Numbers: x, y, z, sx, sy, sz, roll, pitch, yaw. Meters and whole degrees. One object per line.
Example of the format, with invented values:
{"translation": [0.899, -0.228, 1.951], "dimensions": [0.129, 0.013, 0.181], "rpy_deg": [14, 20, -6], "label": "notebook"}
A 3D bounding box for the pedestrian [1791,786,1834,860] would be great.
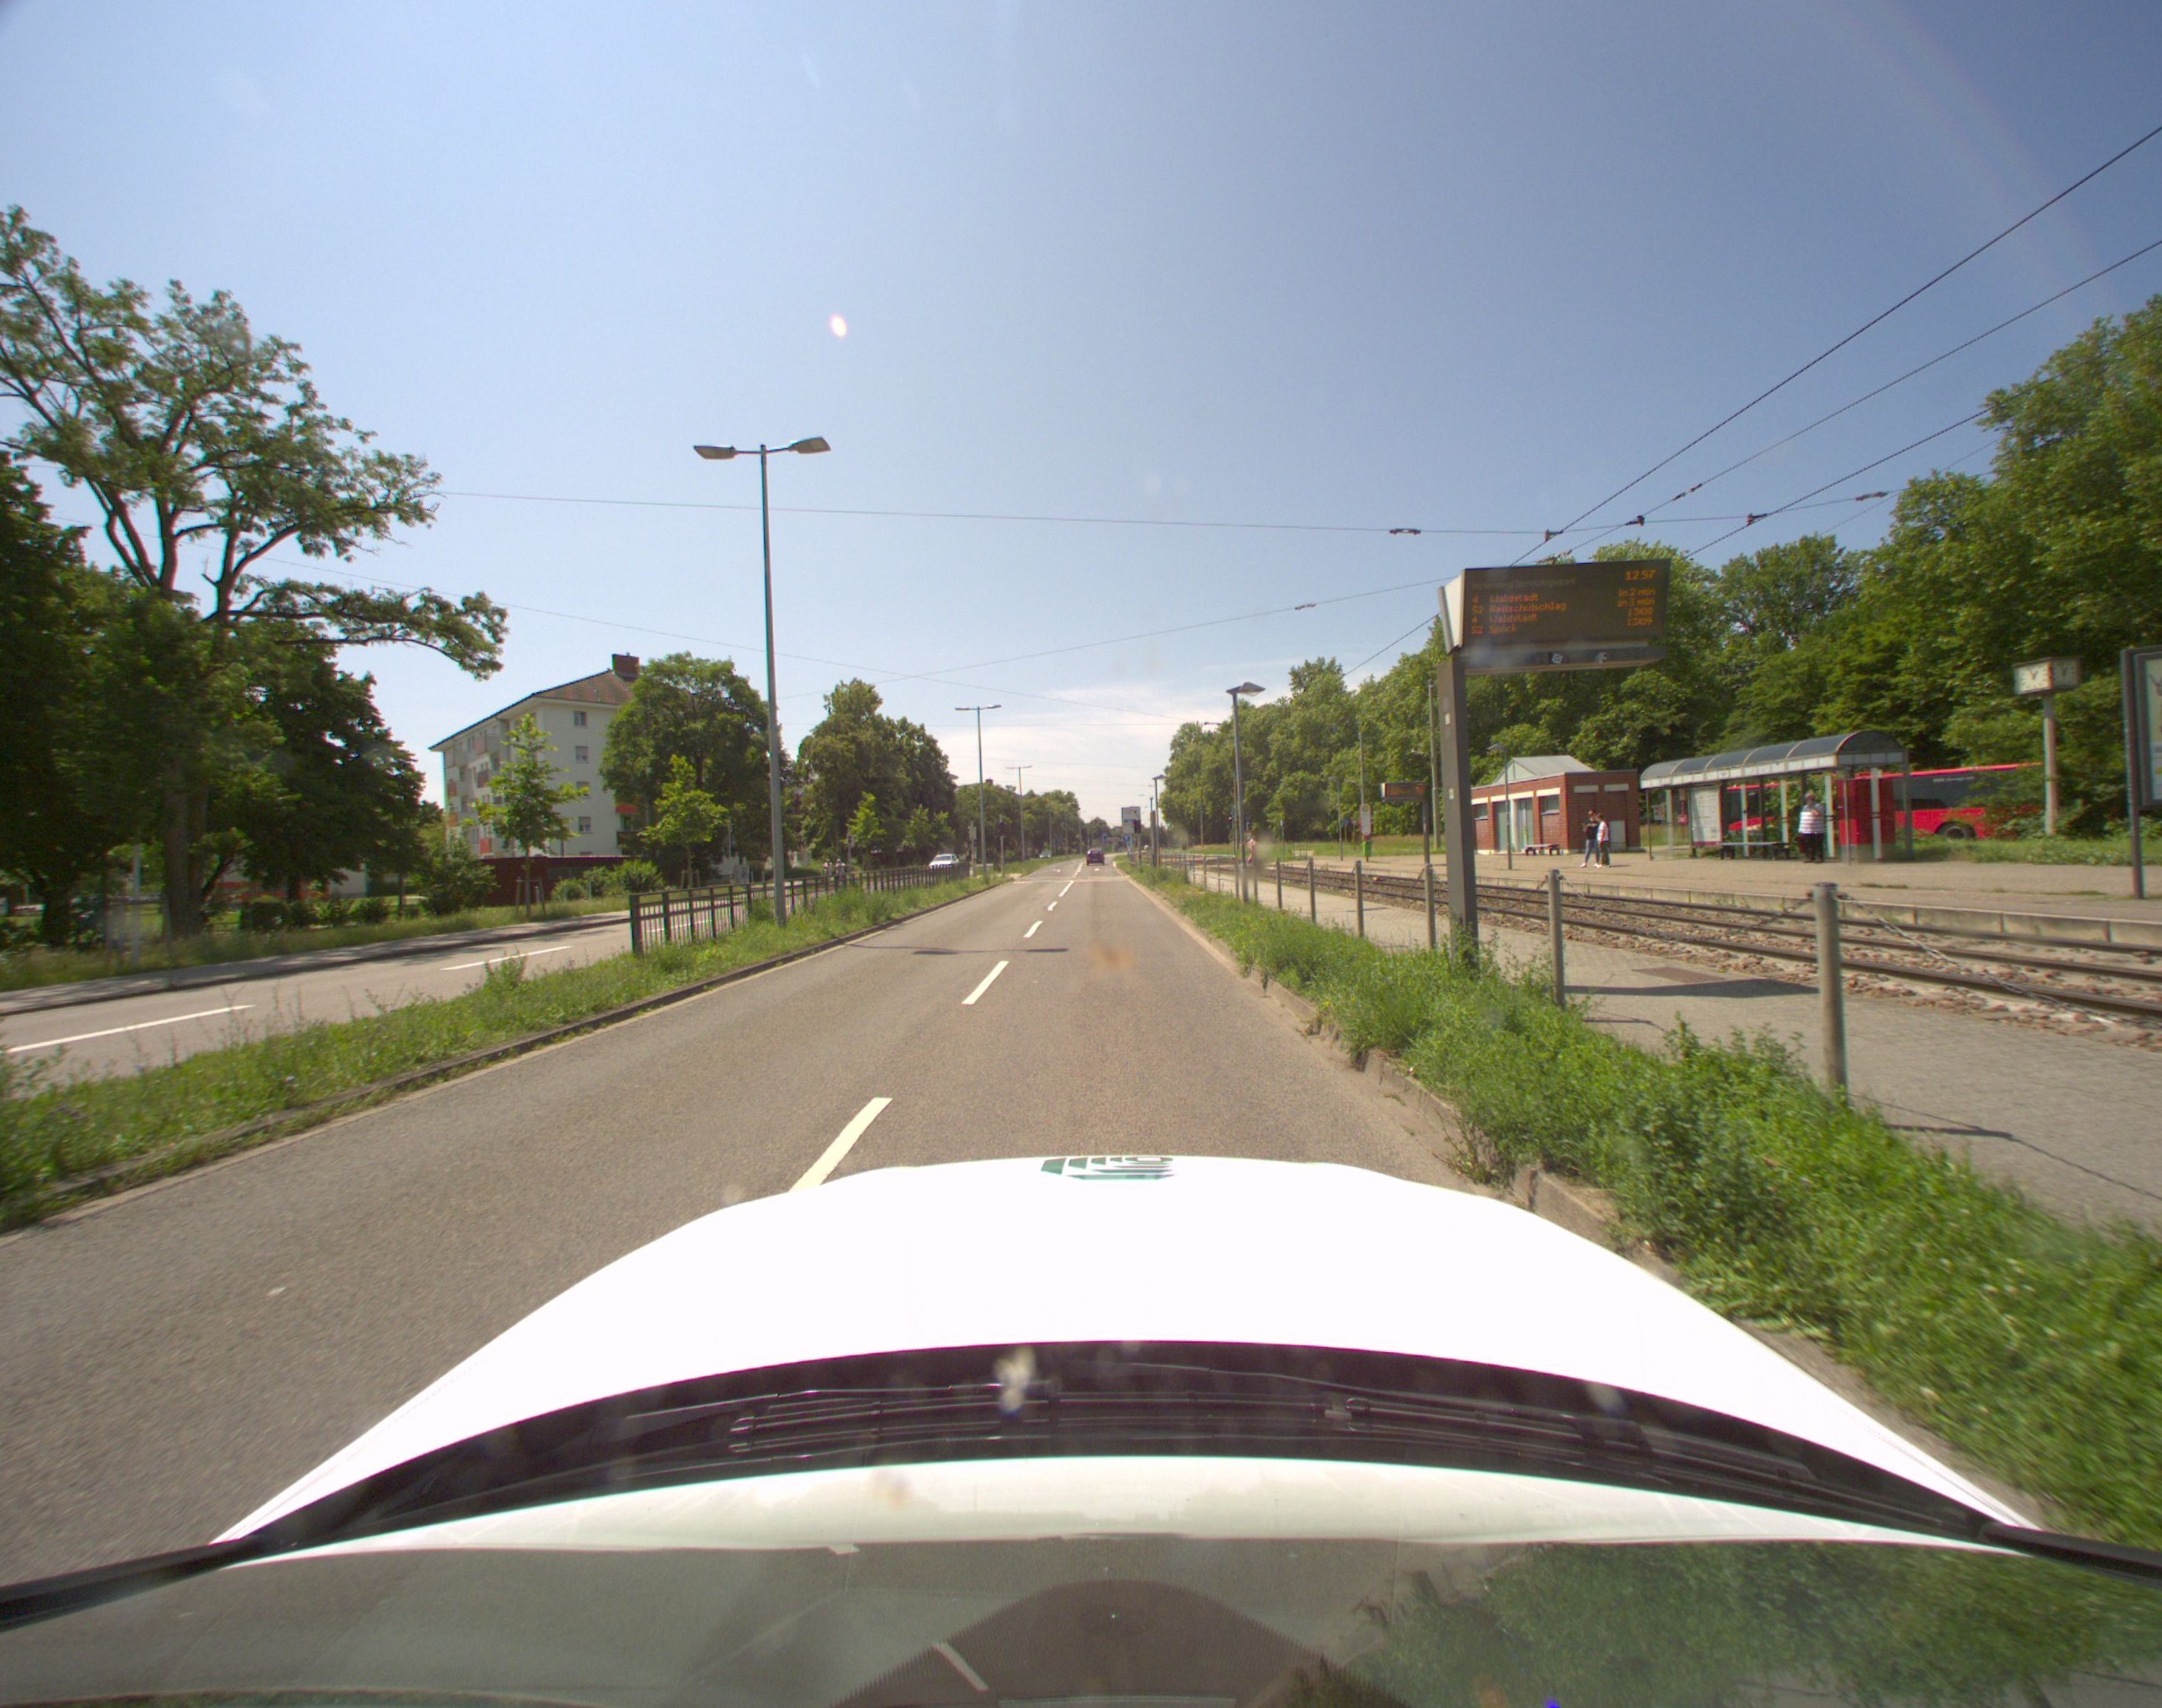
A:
{"translation": [17.988, -0.742, 20.033], "dimensions": [0.380, 1.774, 0.741], "rpy_deg": [-1, -1, 4], "label": "pedestrian"}

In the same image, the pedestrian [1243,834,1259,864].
{"translation": [10.071, -0.294, 48.230], "dimensions": [0.635, 1.759, 0.813], "rpy_deg": [-1, -1, -12], "label": "pedestrian"}

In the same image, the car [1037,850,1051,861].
{"translation": [-5.935, 0.234, 131.189], "dimensions": [1.749, 1.543, 4.163], "rpy_deg": [-3, 0, 2], "label": "car"}

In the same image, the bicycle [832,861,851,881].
{"translation": [-14.218, 1.016, 48.369], "dimensions": [0.586, 1.133, 1.616], "rpy_deg": [-3, 0, 2], "label": "bicycle"}

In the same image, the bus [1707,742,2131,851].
{"translation": [33.594, -2.007, 34.017], "dimensions": [2.767, 3.439, 12.368], "rpy_deg": [-1, -1, -18], "label": "bus"}

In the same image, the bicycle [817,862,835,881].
{"translation": [-15.094, 1.051, 48.167], "dimensions": [0.552, 1.094, 1.380], "rpy_deg": [-1, -1, 3], "label": "bicycle"}

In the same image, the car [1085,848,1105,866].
{"translation": [1.302, 0.276, 73.554], "dimensions": [1.696, 1.477, 3.718], "rpy_deg": [-3, 0, 2], "label": "car"}

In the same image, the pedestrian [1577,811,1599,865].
{"translation": [15.546, -0.479, 24.988], "dimensions": [0.358, 1.646, 0.446], "rpy_deg": [-1, -1, 4], "label": "pedestrian"}

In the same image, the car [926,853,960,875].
{"translation": [-10.920, 0.795, 64.903], "dimensions": [1.814, 1.572, 4.348], "rpy_deg": [-3, 0, 1], "label": "car"}

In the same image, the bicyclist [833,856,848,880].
{"translation": [-14.219, 0.818, 48.153], "dimensions": [0.543, 1.345, 0.755], "rpy_deg": [-3, 0, 0], "label": "bicyclist"}

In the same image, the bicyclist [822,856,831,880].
{"translation": [-15.073, 0.812, 48.294], "dimensions": [0.356, 1.392, 0.441], "rpy_deg": [-1, 0, 4], "label": "bicyclist"}

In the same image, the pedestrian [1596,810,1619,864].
{"translation": [15.640, -0.491, 24.183], "dimensions": [0.358, 1.596, 0.483], "rpy_deg": [-1, -1, 4], "label": "pedestrian"}
